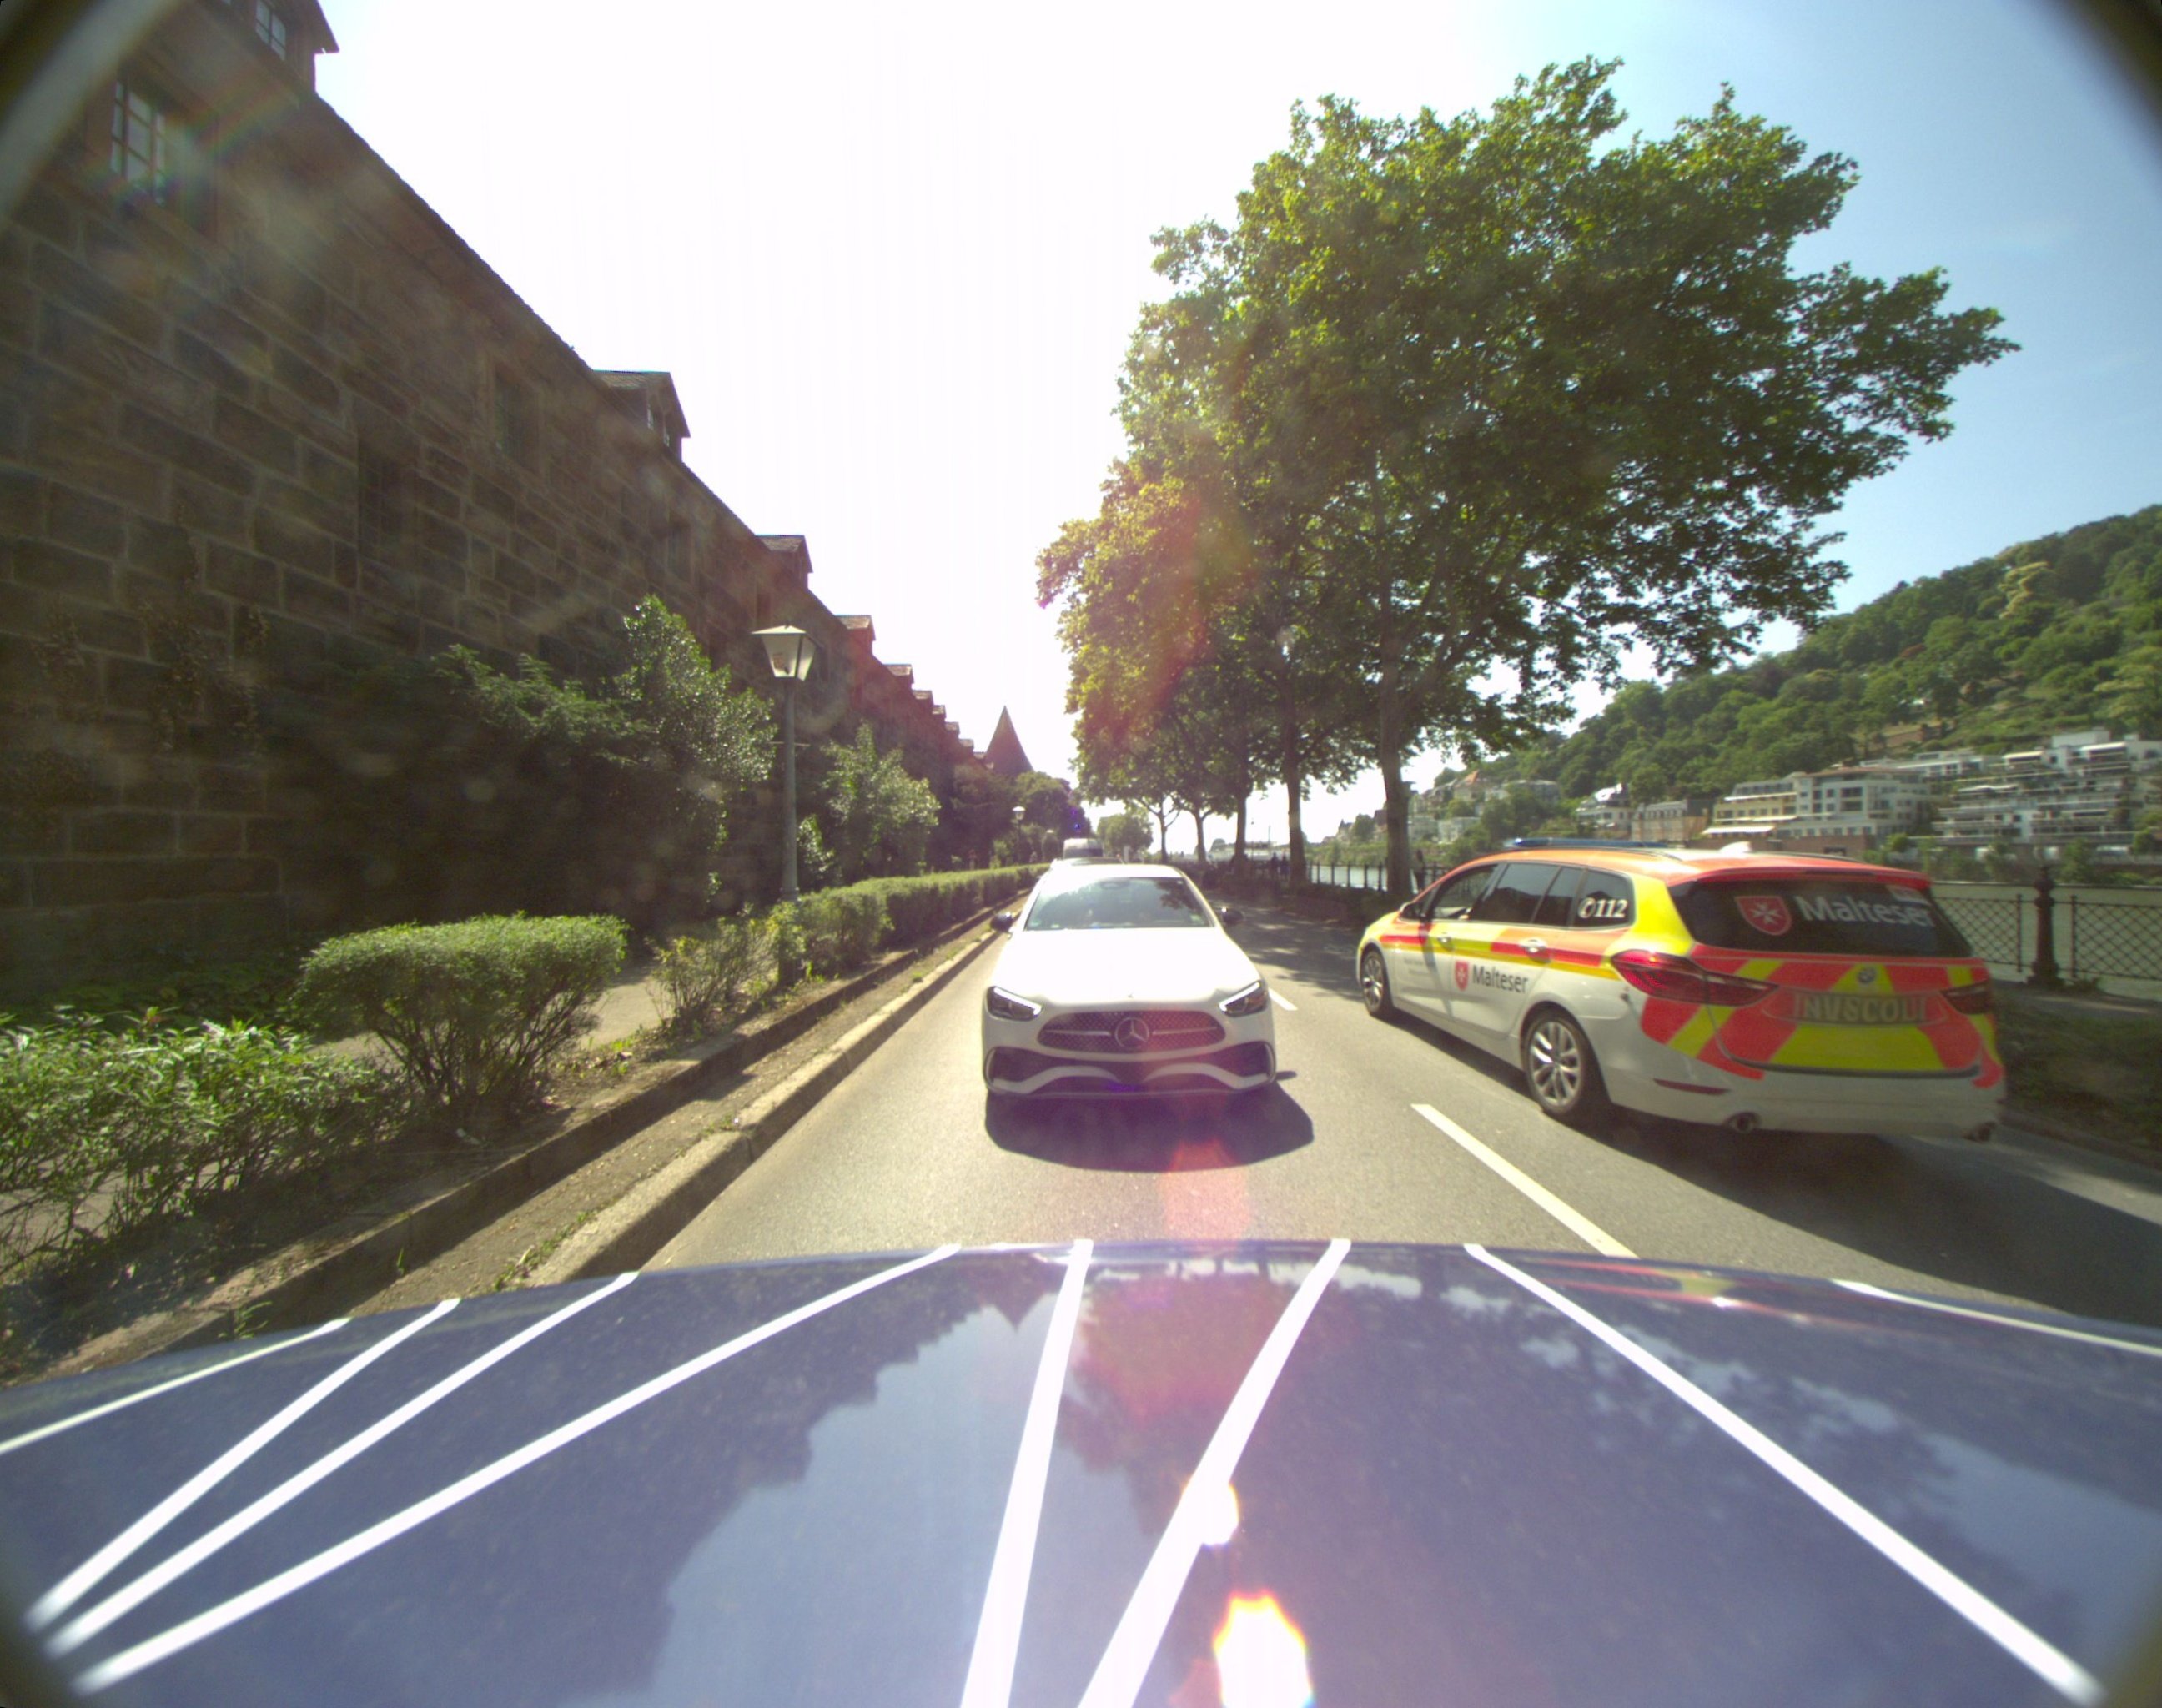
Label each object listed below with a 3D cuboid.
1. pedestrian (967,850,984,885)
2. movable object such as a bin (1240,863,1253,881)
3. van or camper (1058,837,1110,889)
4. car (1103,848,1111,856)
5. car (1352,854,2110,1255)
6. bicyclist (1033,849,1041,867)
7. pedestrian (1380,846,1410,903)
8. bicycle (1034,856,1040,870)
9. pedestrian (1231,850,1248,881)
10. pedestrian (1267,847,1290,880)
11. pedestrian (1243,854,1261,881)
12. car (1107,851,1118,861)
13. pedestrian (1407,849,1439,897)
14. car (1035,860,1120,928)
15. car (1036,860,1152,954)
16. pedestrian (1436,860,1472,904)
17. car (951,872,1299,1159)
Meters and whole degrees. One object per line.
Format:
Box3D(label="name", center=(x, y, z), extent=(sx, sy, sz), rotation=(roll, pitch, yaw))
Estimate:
Box3D(label="pedestrian", center=(-4.757, 0.618, 34.291), extent=(0.643, 1.555, 0.563), rotation=(-2, 1, 1))
Box3D(label="movable object such as a bin", center=(10.465, 1.130, 48.036), extent=(0.703, 1.043, 0.783), rotation=(-2, 1, 4))
Box3D(label="van or camper", center=(0.150, 0.403, 37.246), extent=(2.313, 2.358, 5.035), rotation=(1, 0, 0))
Box3D(label="car", center=(7.430, -0.613, 215.161), extent=(2.165, 2.002, 4.000), rotation=(-2, 1, 1))
Box3D(label="car", center=(3.522, 0.859, 5.353), extent=(1.677, 1.650, 4.223), rotation=(2, 0, 0))
Box3D(label="bicyclist", center=(-3.694, 0.346, 63.868), extent=(0.550, 1.513, 0.583), rotation=(-2, 1, -1))
Box3D(label="pedestrian", center=(10.577, 0.672, 25.619), extent=(0.767, 1.889, 0.771), rotation=(1, 1, 8))
Box3D(label="bicycle", center=(-3.693, 0.741, 63.727), extent=(0.406, 1.169, 1.576), rotation=(-2, 1, -2))
Box3D(label="pedestrian", center=(9.814, 0.706, 47.176), extent=(0.806, 1.839, 0.929), rotation=(-2, 1, 1))
Box3D(label="pedestrian", center=(12.207, 0.596, 46.881), extent=(1.047, 2.002, 1.036), rotation=(-1, 1, 31))
Box3D(label="pedestrian", center=(10.675, 0.820, 47.455), extent=(0.897, 1.625, 1.059), rotation=(-2, 1, 6))
Box3D(label="car", center=(6.549, 0.401, 158.136), extent=(2.165, 2.002, 4.000), rotation=(-2, 1, 1))
Box3D(label="pedestrian", center=(12.845, 0.710, 28.577), extent=(0.777, 1.748, 0.830), rotation=(1, 1, 0))
Box3D(label="car", center=(-0.051, 0.905, 19.037), extent=(1.833, 1.395, 4.424), rotation=(-2, 0, 1))
Box3D(label="car", center=(0.239, 0.877, 14.411), extent=(1.833, 1.428, 4.270), rotation=(-2, 0, 1))
Box3D(label="pedestrian", center=(12.067, 0.900, 24.622), extent=(0.768, 1.379, 0.770), rotation=(1, 0, 0))
Box3D(label="car", center=(0.264, 0.924, 6.242), extent=(1.833, 1.395, 4.270), rotation=(-2, 0, 1))
